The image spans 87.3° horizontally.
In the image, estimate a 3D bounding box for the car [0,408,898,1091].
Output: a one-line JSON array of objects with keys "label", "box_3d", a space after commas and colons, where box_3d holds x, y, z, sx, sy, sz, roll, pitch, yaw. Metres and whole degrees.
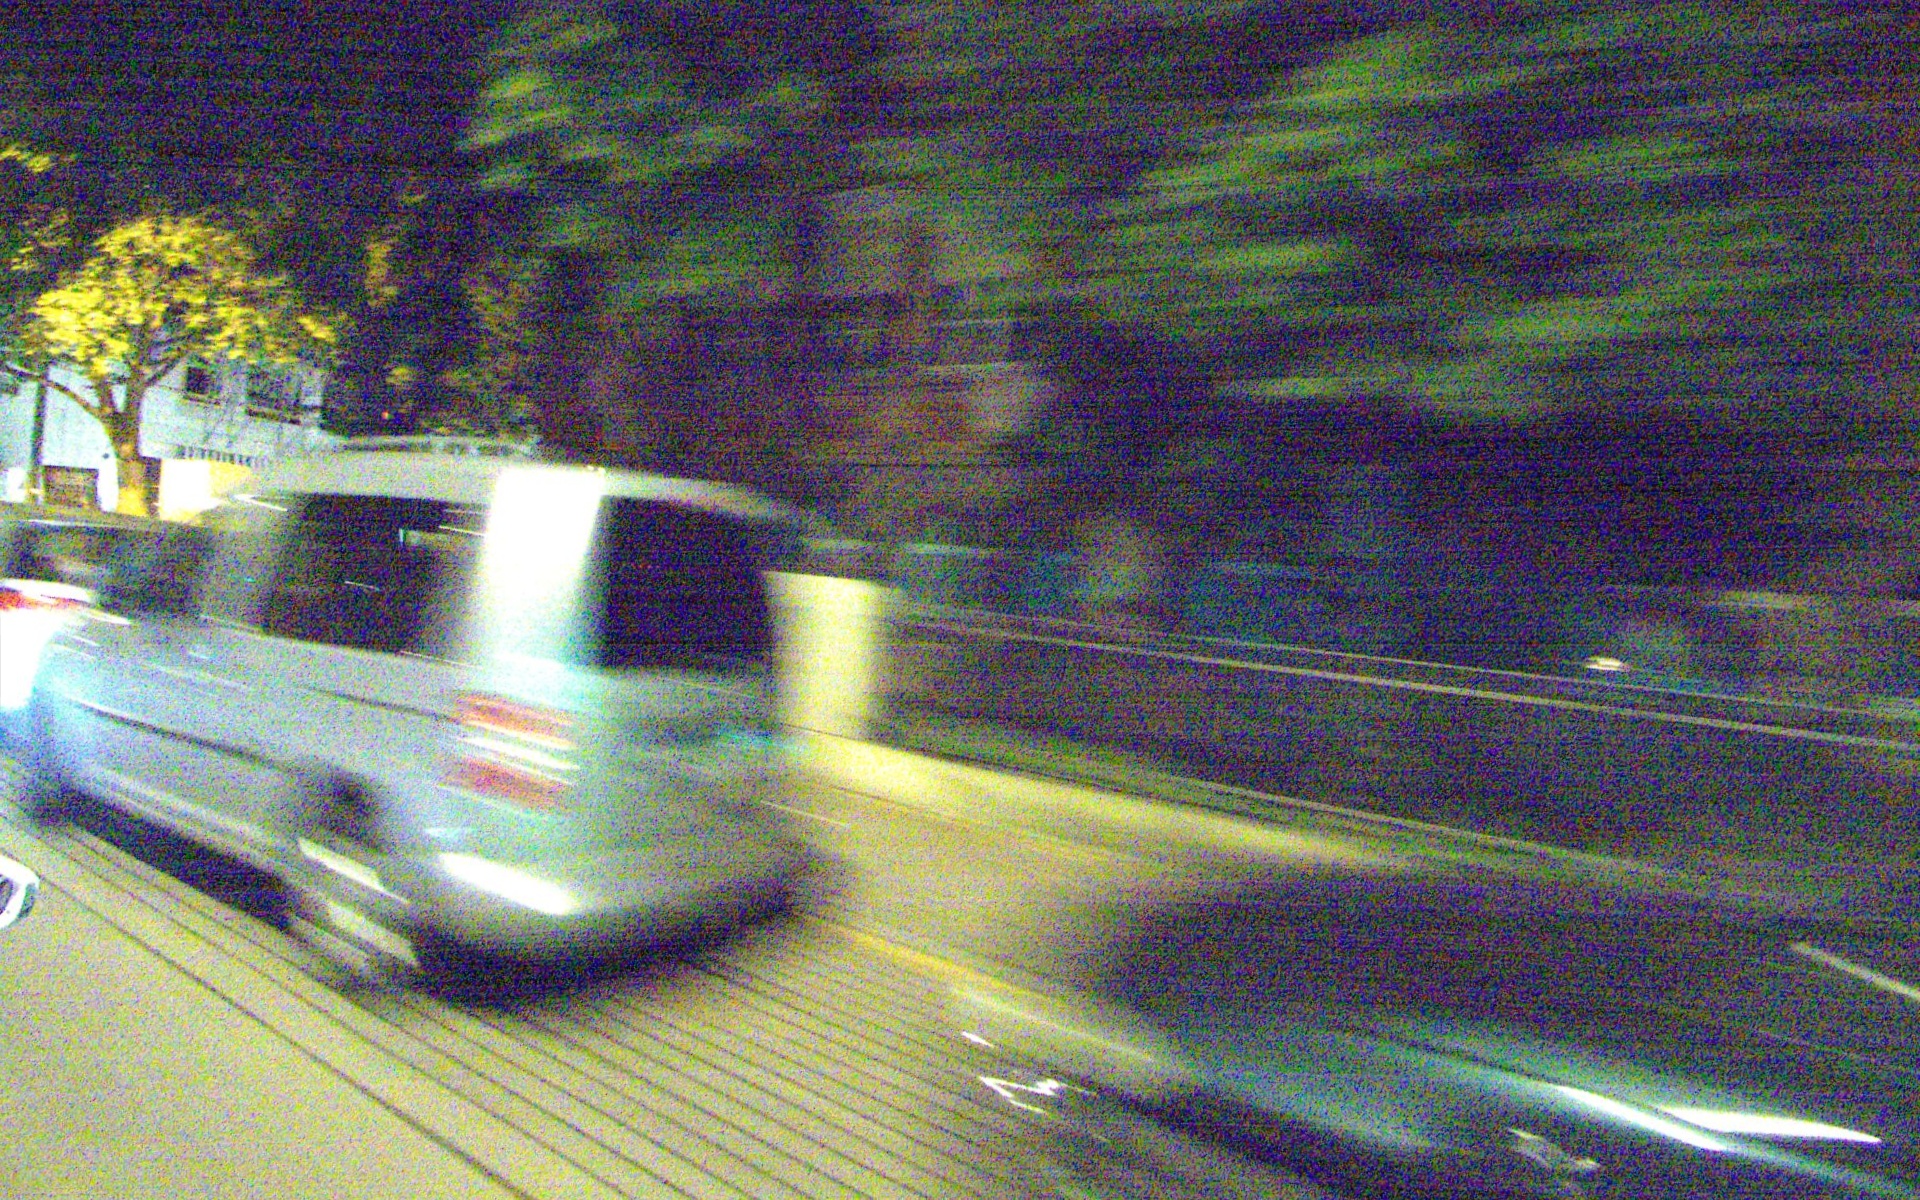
[{"label": "car", "box_3d": [-2.605, 0.258, 4.587, 4.243, 1.879, 1.737, 7, 1, 30]}]

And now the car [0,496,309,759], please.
[{"label": "car", "box_3d": [-6.810, -0.001, 7.230, 4.249, 1.437, 1.730, 7, 1, 29]}]

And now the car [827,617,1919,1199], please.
[{"label": "car", "box_3d": [2.045, 1.007, 1.738, 4.369, 1.439, 1.687, 7, 1, 32]}]
